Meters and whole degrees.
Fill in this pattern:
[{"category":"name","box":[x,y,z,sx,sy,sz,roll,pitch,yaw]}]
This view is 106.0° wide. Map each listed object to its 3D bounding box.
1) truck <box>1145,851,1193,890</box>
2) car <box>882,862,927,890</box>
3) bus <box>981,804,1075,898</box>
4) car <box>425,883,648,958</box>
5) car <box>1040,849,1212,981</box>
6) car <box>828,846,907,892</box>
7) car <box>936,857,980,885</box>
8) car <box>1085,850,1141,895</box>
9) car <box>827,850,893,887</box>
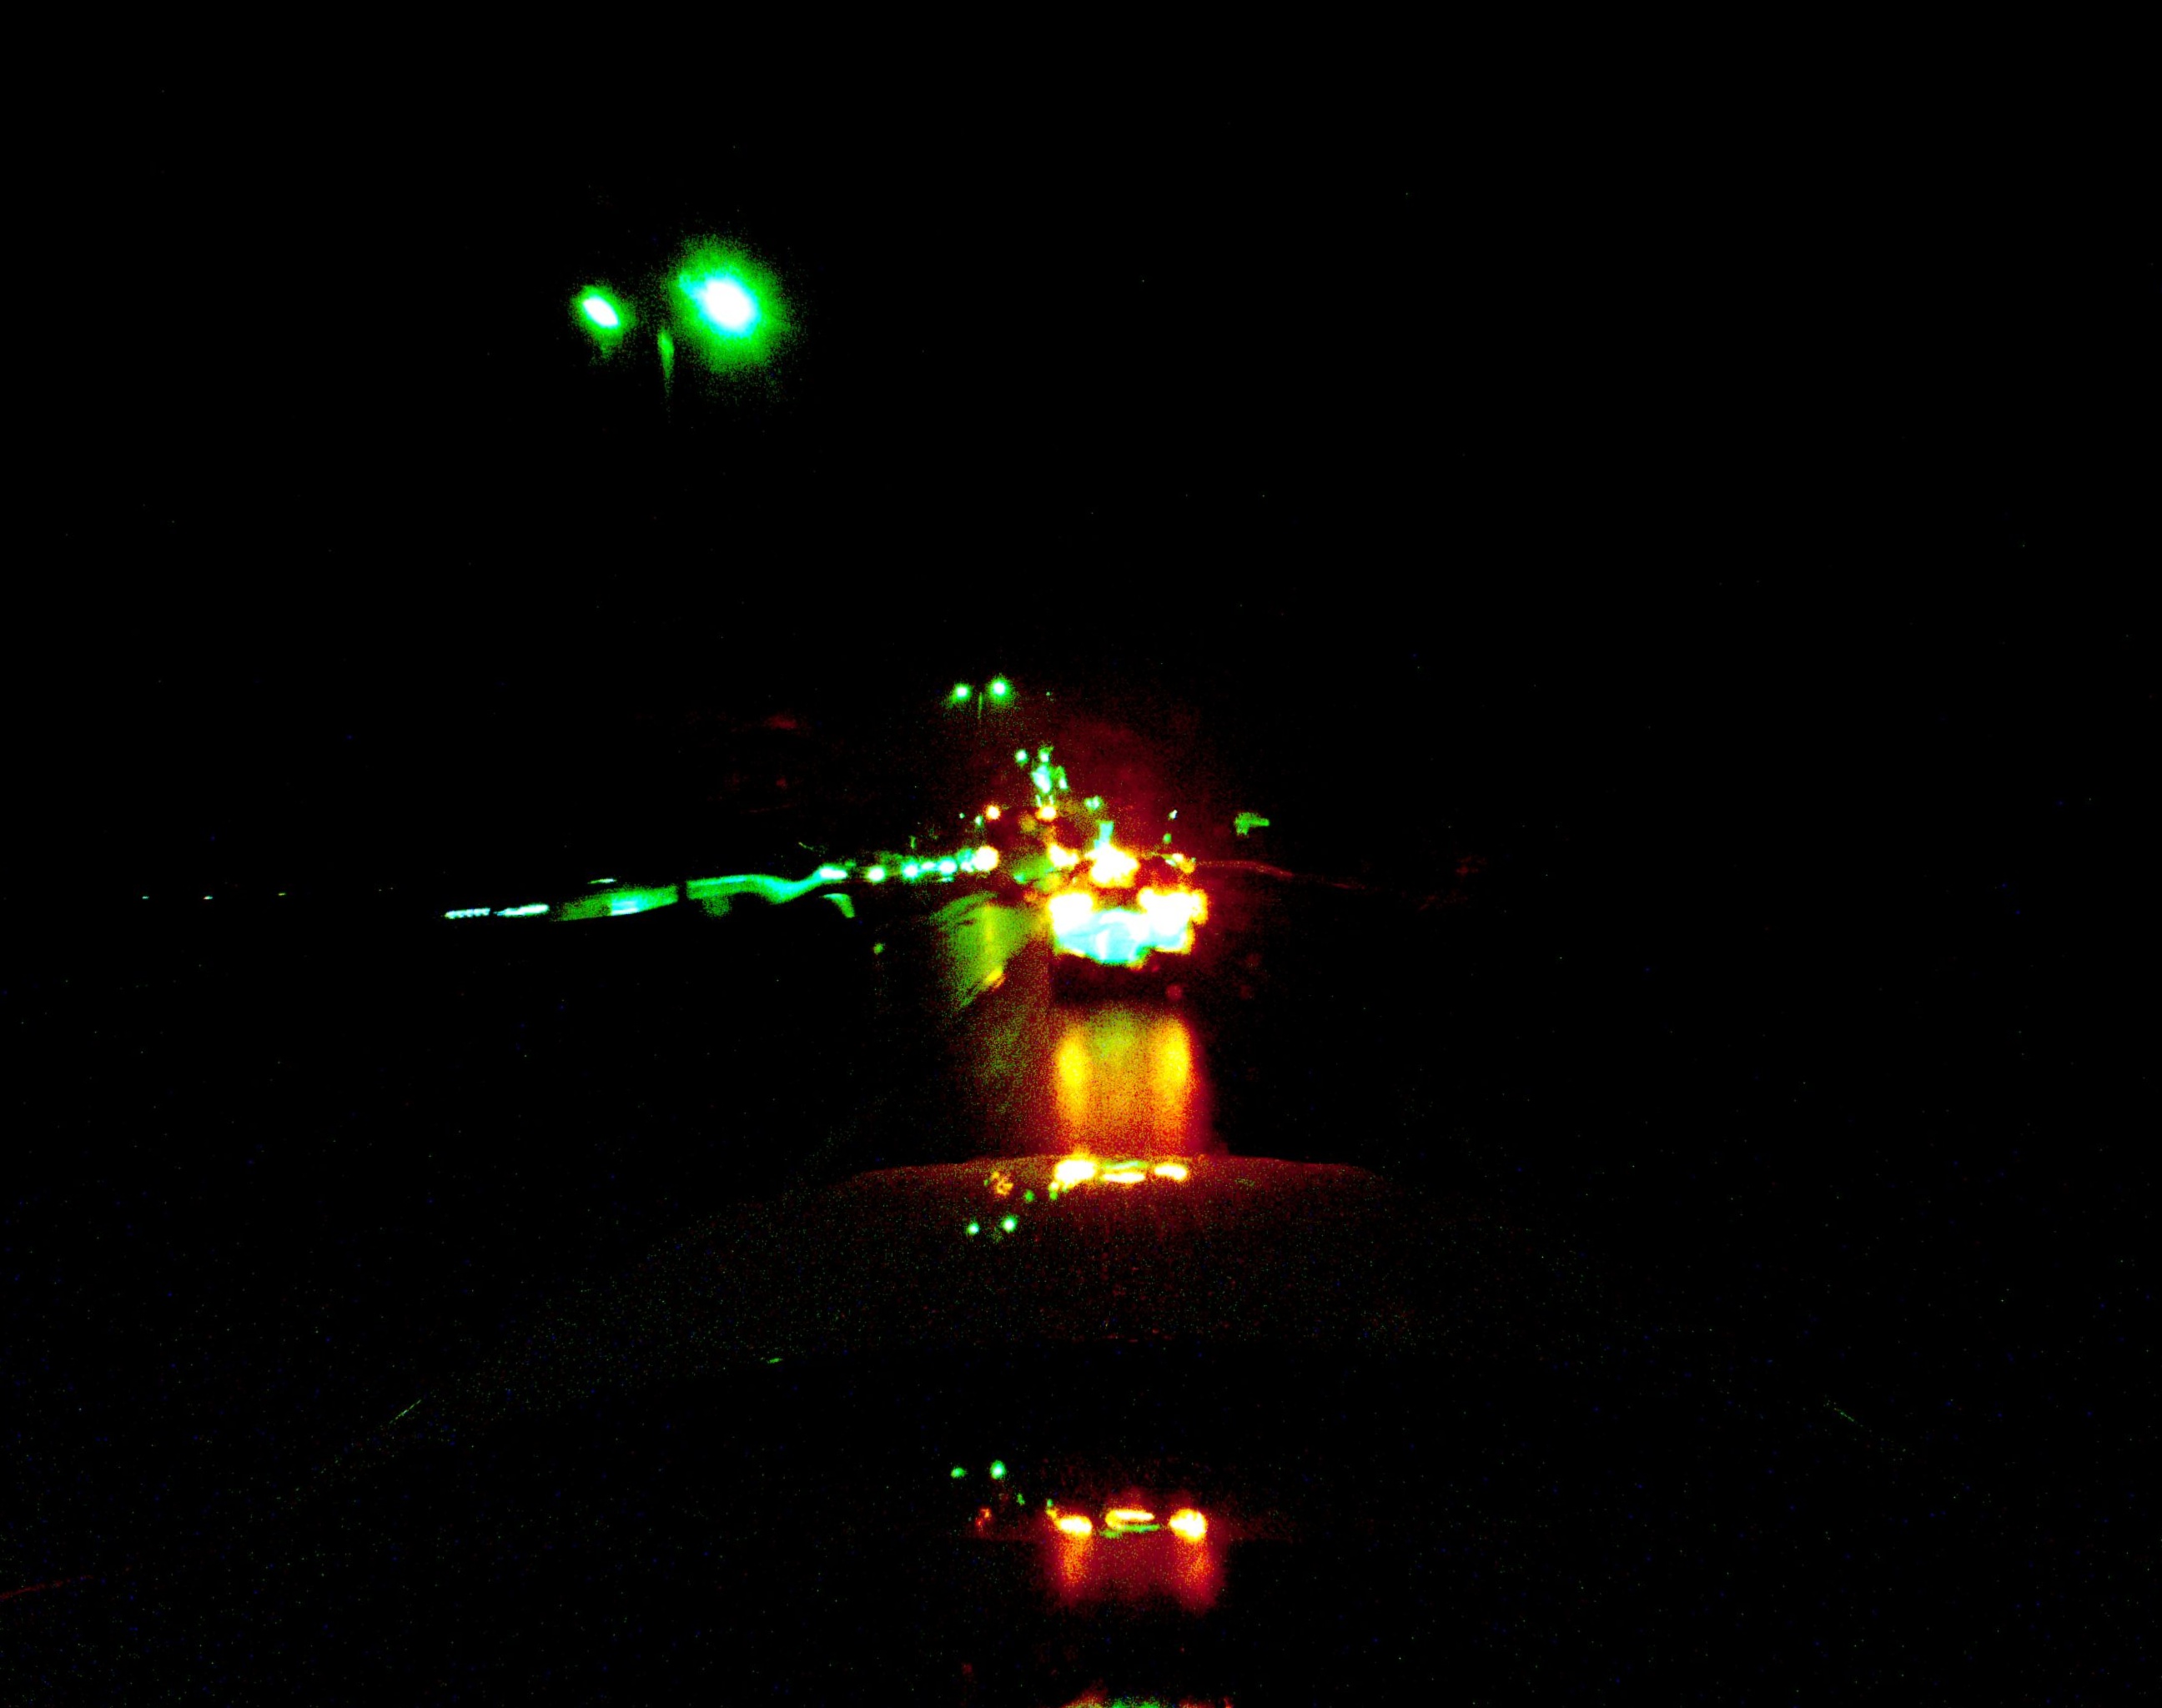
[{"category":"truck","box":[6.237,1.128,56.970,3.053,2.528,7.180,1,-1,7]},{"category":"car","box":[-12.087,1.494,56.124,1.986,1.774,4.705,1,-1,1]},{"category":"bus","box":[-1.813,-0.127,31.978,2.733,3.123,9.205,1,0,2]},{"category":"car","box":[-13.029,1.521,19.992,2.016,1.502,4.898,1,-1,2]},{"category":"car","box":[0.606,0.707,11.096,1.936,1.491,3.719,0,0,3]},{"category":"car","box":[-8.808,0.622,34.027,1.986,1.774,4.705,1,-1,1]},{"category":"car","box":[-8.245,1.133,55.089,2.157,1.774,4.705,1,-1,1]},{"category":"car","box":[1.132,0.606,28.444,1.814,1.461,3.718,0,0,3]},{"category":"car","box":[-11.305,0.769,42.029,1.986,1.774,4.705,1,-1,1]}]
